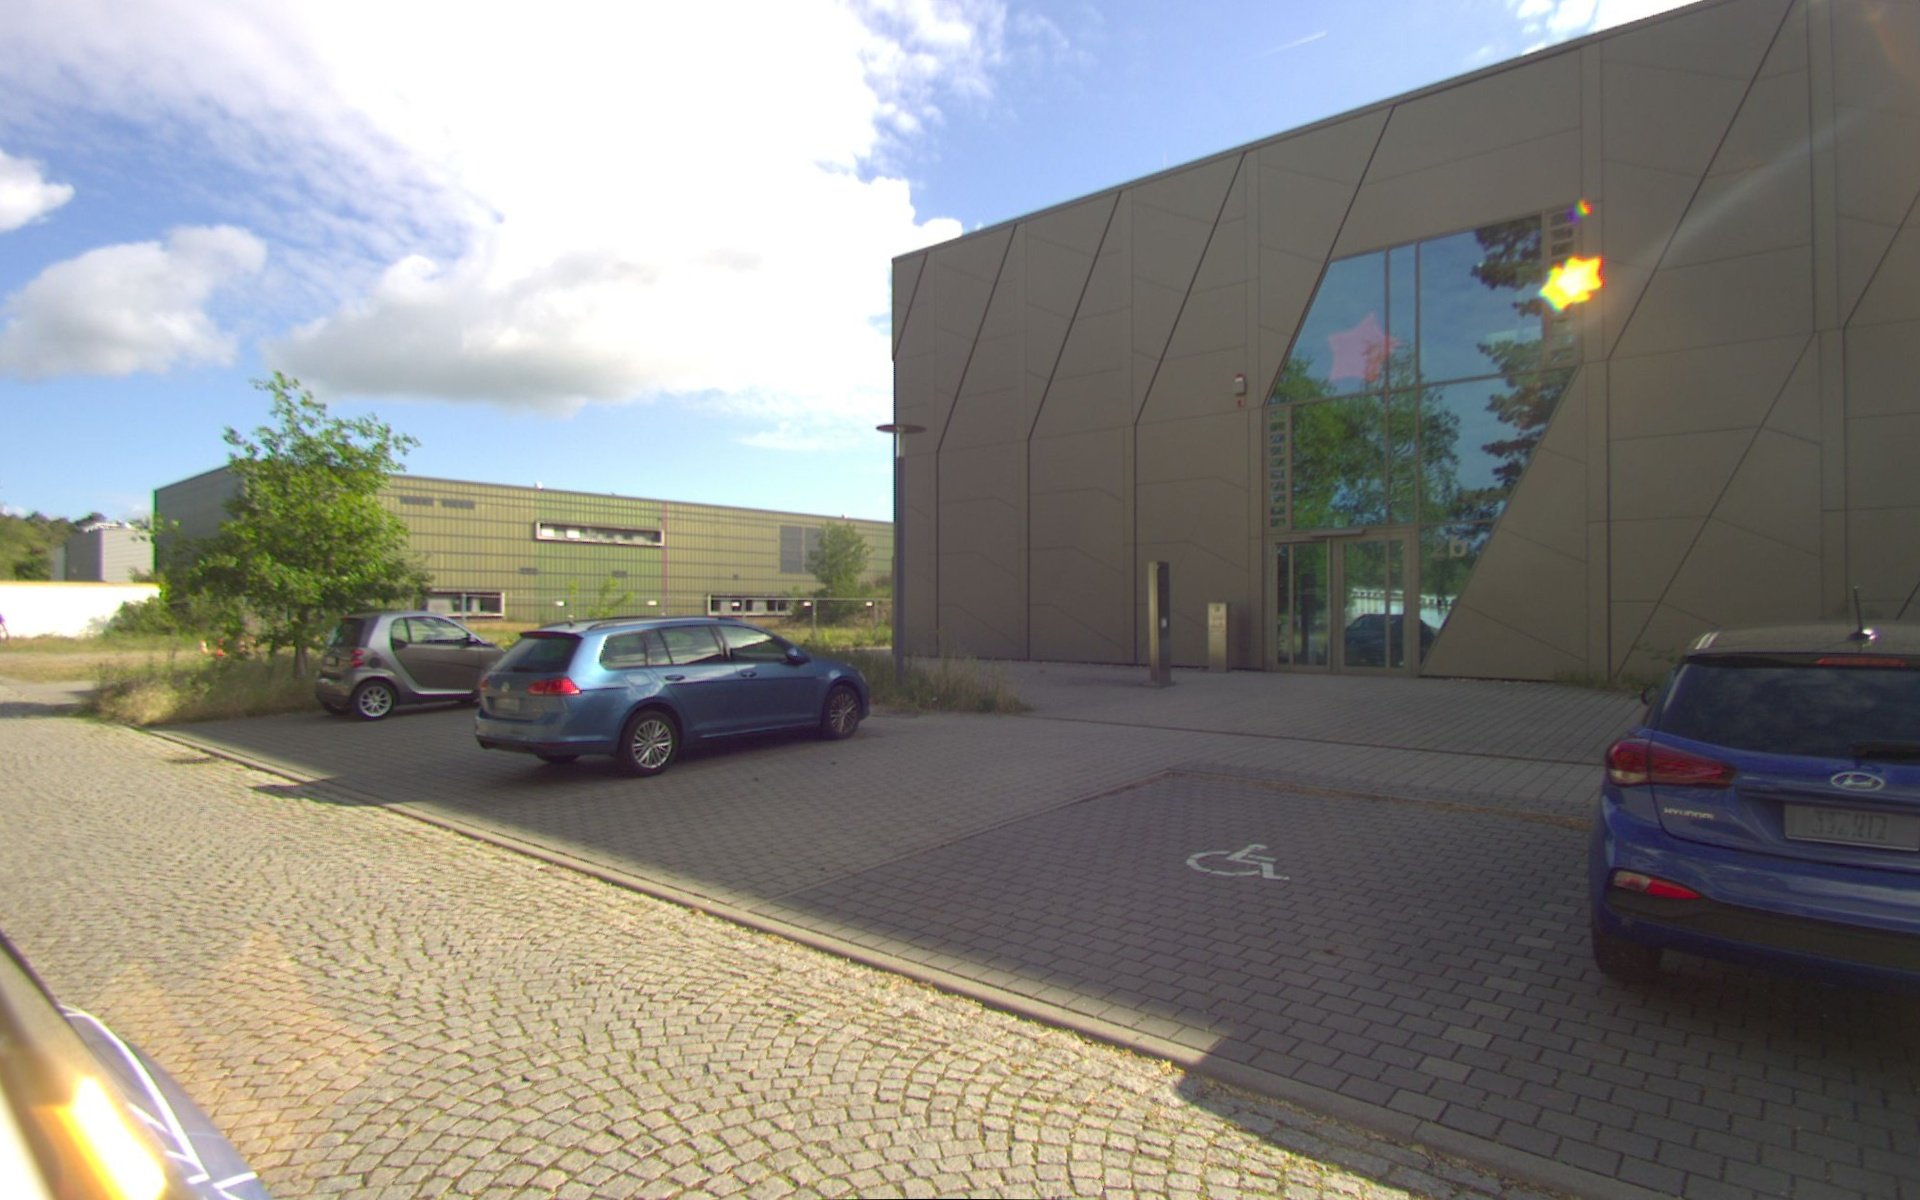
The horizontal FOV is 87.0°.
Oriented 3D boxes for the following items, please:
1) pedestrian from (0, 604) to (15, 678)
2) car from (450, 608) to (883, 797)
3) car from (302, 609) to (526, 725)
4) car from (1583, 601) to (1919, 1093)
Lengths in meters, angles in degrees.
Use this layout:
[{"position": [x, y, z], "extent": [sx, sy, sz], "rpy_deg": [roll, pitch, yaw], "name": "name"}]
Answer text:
[{"position": [-23.669, 0.996, 24.606], "extent": [1.151, 1.785, 0.797], "rpy_deg": [-1, -1, 36], "name": "pedestrian"}, {"position": [-2.864, 0.890, 10.715], "extent": [1.678, 1.475, 4.216], "rpy_deg": [-1, 0, 38], "name": "car"}, {"position": [-8.398, 0.953, 15.671], "extent": [1.517, 1.554, 2.672], "rpy_deg": [-1, 1, 39], "name": "car"}, {"position": [4.269, 0.783, 4.620], "extent": [1.720, 1.475, 3.794], "rpy_deg": [-1, 1, 43], "name": "car"}]
